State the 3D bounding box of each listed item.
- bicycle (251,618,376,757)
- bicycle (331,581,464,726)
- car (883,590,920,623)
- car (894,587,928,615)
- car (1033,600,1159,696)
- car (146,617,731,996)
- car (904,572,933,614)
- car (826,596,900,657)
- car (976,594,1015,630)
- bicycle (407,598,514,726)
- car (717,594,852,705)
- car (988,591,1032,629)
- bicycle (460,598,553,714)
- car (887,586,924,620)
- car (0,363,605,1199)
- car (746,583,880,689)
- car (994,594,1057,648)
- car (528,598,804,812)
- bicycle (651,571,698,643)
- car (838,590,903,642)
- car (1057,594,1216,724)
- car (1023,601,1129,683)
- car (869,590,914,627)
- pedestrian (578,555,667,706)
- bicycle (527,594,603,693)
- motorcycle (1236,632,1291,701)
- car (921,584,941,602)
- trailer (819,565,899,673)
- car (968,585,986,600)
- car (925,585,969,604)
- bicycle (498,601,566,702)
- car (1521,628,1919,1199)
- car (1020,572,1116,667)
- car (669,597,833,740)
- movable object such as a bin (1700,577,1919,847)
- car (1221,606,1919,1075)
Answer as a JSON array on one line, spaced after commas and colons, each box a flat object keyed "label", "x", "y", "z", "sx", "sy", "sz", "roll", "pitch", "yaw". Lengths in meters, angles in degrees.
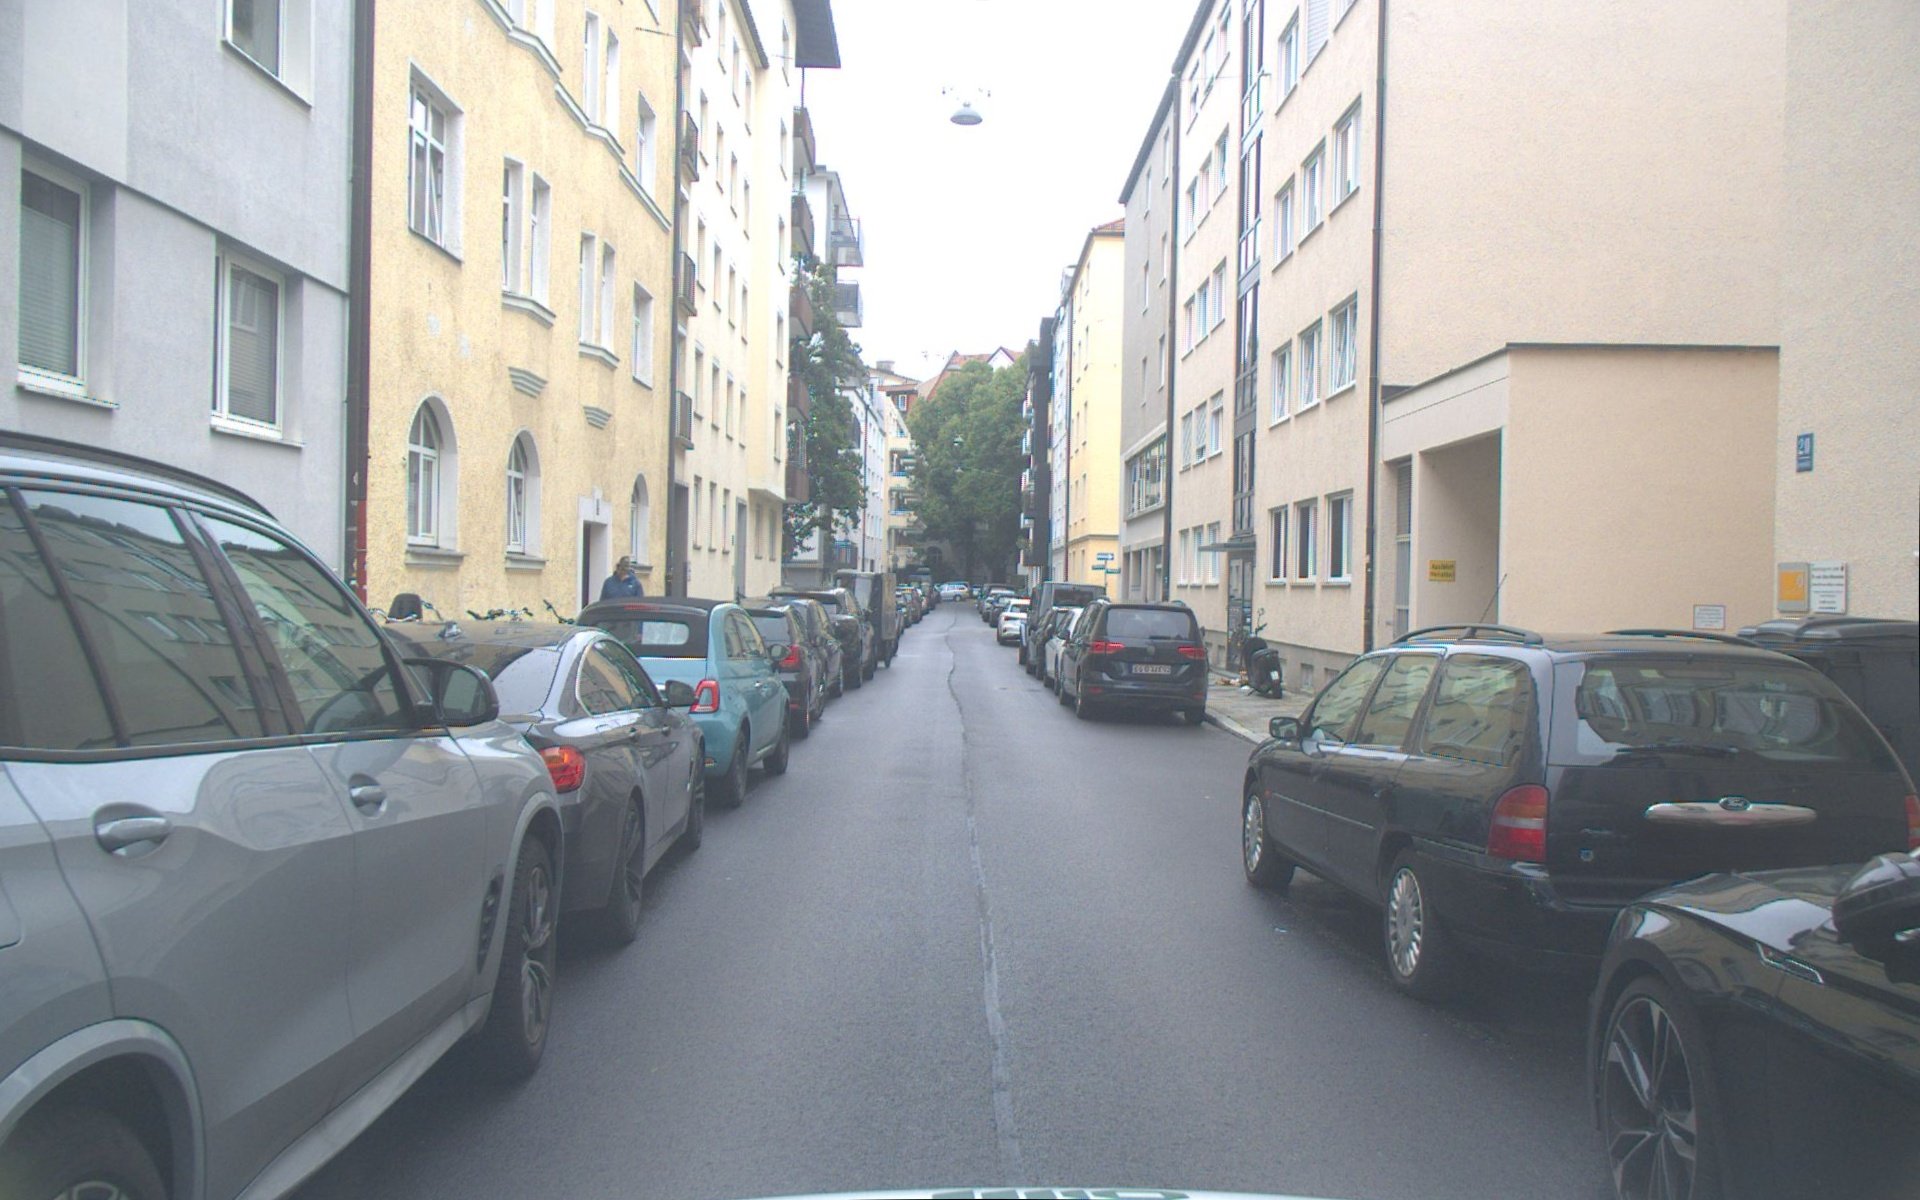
[{"label": "bicycle", "x": -5.278, "y": 0.686, "z": 13.575, "sx": 0.387, "sy": 1.049, "sz": 1.570, "roll": 2, "pitch": 0, "yaw": -1}, {"label": "bicycle", "x": -5.214, "y": 0.477, "z": 15.440, "sx": 0.624, "sy": 1.255, "sz": 1.736, "roll": 2, "pitch": 0, "yaw": -1}, {"label": "car", "x": -2.693, "y": 0.261, "z": 76.732, "sx": 1.659, "sy": 1.467, "sz": 3.976, "roll": 0, "pitch": 1, "yaw": -2}, {"label": "car", "x": -2.814, "y": 0.050, "z": 95.922, "sx": 1.740, "sy": 1.513, "sz": 4.519, "roll": -1, "pitch": 1, "yaw": 0}, {"label": "car", "x": 2.355, "y": 0.802, "z": 29.557, "sx": 1.677, "sy": 1.512, "sz": 4.242, "roll": 3, "pitch": 0, "yaw": -2}, {"label": "car", "x": -2.315, "y": 0.820, "z": 8.555, "sx": 1.775, "sy": 1.410, "sz": 4.249, "roll": -1, "pitch": 0, "yaw": -2}, {"label": "car", "x": -2.855, "y": -0.516, "z": 115.586, "sx": 1.897, "sy": 2.850, "sz": 4.532, "roll": -1, "pitch": 1, "yaw": -1}, {"label": "car", "x": -2.378, "y": 0.629, "z": 41.400, "sx": 1.618, "sy": 1.461, "sz": 3.802, "roll": 1, "pitch": 0, "yaw": 0}, {"label": "car", "x": 1.768, "y": 0.589, "z": 84.201, "sx": 1.648, "sy": 1.594, "sz": 4.414, "roll": 4, "pitch": 1, "yaw": -2}, {"label": "bicycle", "x": -5.184, "y": 0.616, "z": 17.264, "sx": 0.581, "sy": 1.255, "sz": 1.736, "roll": 2, "pitch": 0, "yaw": -1}, {"label": "car", "x": -2.504, "y": 0.673, "z": 24.293, "sx": 1.530, "sy": 1.486, "sz": 3.476, "roll": 1, "pitch": 0, "yaw": 1}, {"label": "car", "x": 2.205, "y": 0.411, "z": 74.067, "sx": 1.715, "sy": 1.494, "sz": 4.342, "roll": 4, "pitch": 1, "yaw": -1}, {"label": "bicycle", "x": -5.212, "y": 0.621, "z": 19.086, "sx": 0.581, "sy": 1.255, "sz": 1.736, "roll": 2, "pitch": 0, "yaw": -1}, {"label": "car", "x": -2.715, "y": 0.126, "z": 82.784, "sx": 1.740, "sy": 1.657, "sz": 4.414, "roll": 0, "pitch": 1, "yaw": -1}, {"label": "car", "x": -2.130, "y": 0.596, "z": 3.601, "sx": 1.825, "sy": 1.800, "sz": 4.734, "roll": -1, "pitch": 1, "yaw": -2}, {"label": "car", "x": -2.481, "y": 0.583, "z": 28.875, "sx": 1.840, "sy": 1.689, "sz": 4.415, "roll": 1, "pitch": 0, "yaw": 1}, {"label": "car", "x": 2.111, "y": 0.661, "z": 54.097, "sx": 1.782, "sy": 1.432, "sz": 3.952, "roll": 2, "pitch": 3, "yaw": -1}, {"label": "car", "x": -2.231, "y": 0.738, "z": 13.348, "sx": 1.530, "sy": 1.486, "sz": 3.404, "roll": 1, "pitch": 0, "yaw": 1}, {"label": "bicycle", "x": -5.401, "y": 0.133, "z": 31.330, "sx": 0.582, "sy": 1.301, "sz": 1.551, "roll": 4, "pitch": 0, "yaw": -2}, {"label": "car", "x": -2.786, "y": 0.480, "z": 52.231, "sx": 1.729, "sy": 1.509, "sz": 4.424, "roll": 1, "pitch": 1, "yaw": 1}, {"label": "car", "x": 2.461, "y": 0.784, "z": 23.963, "sx": 1.677, "sy": 1.636, "sz": 4.243, "roll": 3, "pitch": 0, "yaw": -2}, {"label": "car", "x": 2.342, "y": 0.824, "z": 34.418, "sx": 1.677, "sy": 1.512, "sz": 4.242, "roll": 3, "pitch": 0, "yaw": -2}, {"label": "car", "x": -2.843, "y": 0.346, "z": 69.061, "sx": 1.658, "sy": 1.467, "sz": 3.942, "roll": 0, "pitch": 1, "yaw": 0}, {"label": "pedestrian", "x": -4.168, "y": 0.364, "z": 20.475, "sx": 0.822, "sy": 1.795, "sz": 1.067, "roll": 2, "pitch": 0, "yaw": -1}, {"label": "bicycle", "x": -5.271, "y": 0.559, "z": 22.156, "sx": 0.581, "sy": 1.255, "sz": 1.736, "roll": 2, "pitch": 0, "yaw": -1}, {"label": "motorcycle", "x": 4.839, "y": 1.044, "z": 26.461, "sx": 0.472, "sy": 0.984, "sz": 1.911, "roll": -2, "pitch": 0, "yaw": -1}, {"label": "car", "x": -2.351, "y": -0.572, "z": 134.130, "sx": 1.609, "sy": 1.408, "sz": 3.482, "roll": -1, "pitch": 1, "yaw": -1}, {"label": "trailer", "x": -2.110, "y": 0.382, "z": 35.191, "sx": 1.327, "sy": 2.153, "sz": 3.319, "roll": 1, "pitch": 0, "yaw": 2}, {"label": "car", "x": 1.645, "y": -0.752, "z": 161.412, "sx": 1.609, "sy": 1.408, "sz": 3.745, "roll": -1, "pitch": 1, "yaw": -1}, {"label": "car", "x": -1.154, "y": -0.492, "z": 144.205, "sx": 3.807, "sy": 1.612, "sz": 1.647, "roll": -1, "pitch": 0, "yaw": -2}, {"label": "bicycle", "x": -5.374, "y": 0.621, "z": 20.835, "sx": 0.430, "sy": 1.211, "sz": 1.632, "roll": 2, "pitch": 0, "yaw": -1}, {"label": "car", "x": 2.533, "y": 0.830, "z": 2.443, "sx": 1.795, "sy": 1.430, "sz": 4.410, "roll": 3, "pitch": 0, "yaw": -1}, {"label": "car", "x": 2.492, "y": 0.397, "z": 39.100, "sx": 1.716, "sy": 2.009, "sz": 4.341, "roll": 4, "pitch": 1, "yaw": -2}, {"label": "car", "x": -2.348, "y": 0.723, "z": 19.327, "sx": 1.531, "sy": 1.486, "sz": 3.763, "roll": 1, "pitch": 0, "yaw": -2}, {"label": "movable object such as a bin", "x": 5.224, "y": 0.602, "z": 9.722, "sx": 1.011, "sy": 1.448, "sz": 1.586, "roll": -1, "pitch": 0, "yaw": -1}, {"label": "car", "x": 2.569, "y": 0.821, "z": 7.775, "sx": 1.683, "sy": 1.497, "sz": 4.528, "roll": 3, "pitch": 0, "yaw": -3}]
